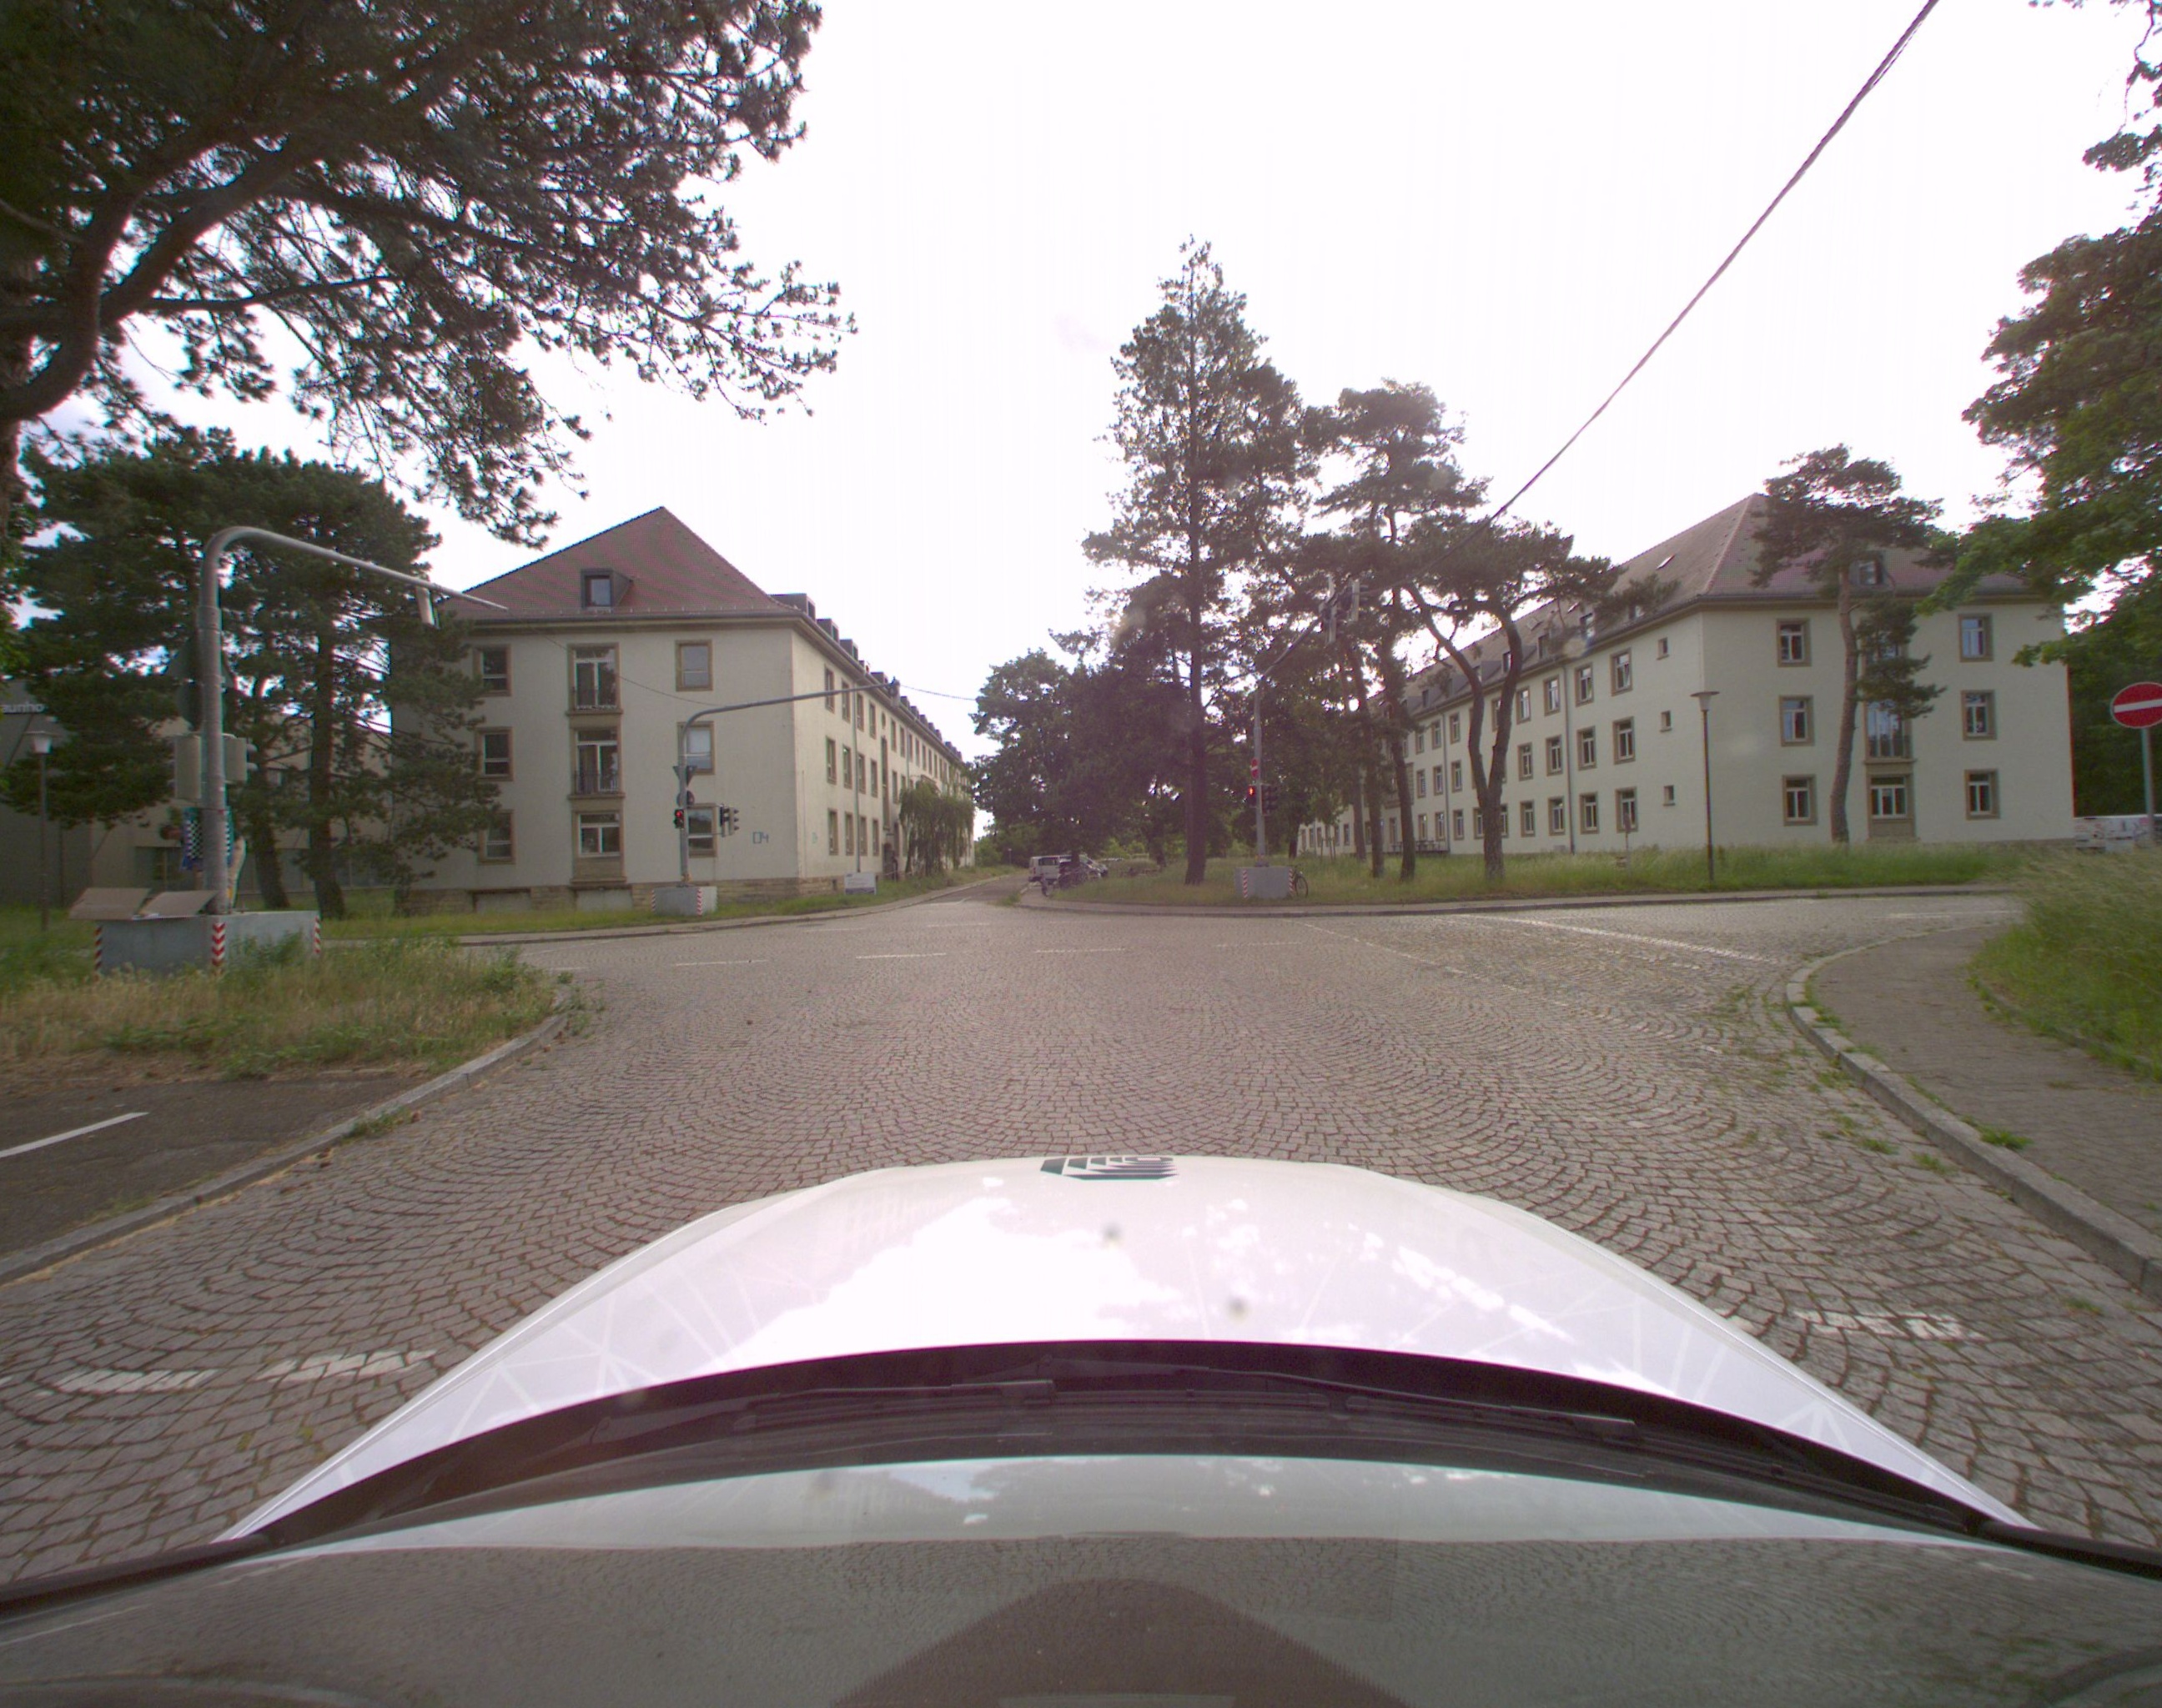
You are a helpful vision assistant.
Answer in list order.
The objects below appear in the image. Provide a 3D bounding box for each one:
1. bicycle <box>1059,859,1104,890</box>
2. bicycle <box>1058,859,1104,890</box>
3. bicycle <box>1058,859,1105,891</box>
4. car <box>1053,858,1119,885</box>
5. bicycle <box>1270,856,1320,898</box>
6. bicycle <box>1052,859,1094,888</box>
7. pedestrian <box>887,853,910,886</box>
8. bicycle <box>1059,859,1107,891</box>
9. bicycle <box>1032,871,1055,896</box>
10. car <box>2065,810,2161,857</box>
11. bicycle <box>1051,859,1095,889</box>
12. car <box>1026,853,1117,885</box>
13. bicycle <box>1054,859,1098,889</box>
[{"bbox_3d":[0.010,0.954,38.450,2.063,1.378,0.620,-2,-1,-1],"label":"bicycle"},{"bbox_3d":[0.015,0.942,37.654,2.063,1.378,0.620,-2,-1,-1],"label":"bicycle"},{"bbox_3d":[0.028,0.933,37.030,2.063,1.378,0.620,-2,-1,-1],"label":"bicycle"},{"bbox_3d":[0.284,1.098,50.882,3.927,1.544,1.996,-2,-1,-6],"label":"car"},{"bbox_3d":[6.340,0.671,24.248,0.906,1.177,1.873,-2,-1,-2],"label":"bicycle"},{"bbox_3d":[-0.389,0.987,40.724,2.063,1.378,0.620,-2,-1,-1],"label":"bicycle"},{"bbox_3d":[-11.539,0.990,51.568,1.082,2.014,1.023,-2,-1,4],"label":"pedestrian"},{"bbox_3d":[0.082,0.923,36.360,2.063,1.378,0.620,-2,-1,-1],"label":"bicycle"},{"bbox_3d":[-1.572,1.234,34.520,0.615,0.963,2.080,-2,0,6],"label":"bicycle"},{"bbox_3d":[54.929,-1.088,42.181,5.163,2.288,2.213,-2,-1,0],"label":"car"},{"bbox_3d":[-0.391,0.975,39.977,2.063,1.378,0.620,-2,-1,-1],"label":"bicycle"},{"bbox_3d":[-0.664,1.006,54.230,5.699,1.910,2.220,-2,-1,-14],"label":"car"},{"bbox_3d":[-0.228,0.964,39.243,2.063,1.378,0.620,-2,-1,-1],"label":"bicycle"}]
